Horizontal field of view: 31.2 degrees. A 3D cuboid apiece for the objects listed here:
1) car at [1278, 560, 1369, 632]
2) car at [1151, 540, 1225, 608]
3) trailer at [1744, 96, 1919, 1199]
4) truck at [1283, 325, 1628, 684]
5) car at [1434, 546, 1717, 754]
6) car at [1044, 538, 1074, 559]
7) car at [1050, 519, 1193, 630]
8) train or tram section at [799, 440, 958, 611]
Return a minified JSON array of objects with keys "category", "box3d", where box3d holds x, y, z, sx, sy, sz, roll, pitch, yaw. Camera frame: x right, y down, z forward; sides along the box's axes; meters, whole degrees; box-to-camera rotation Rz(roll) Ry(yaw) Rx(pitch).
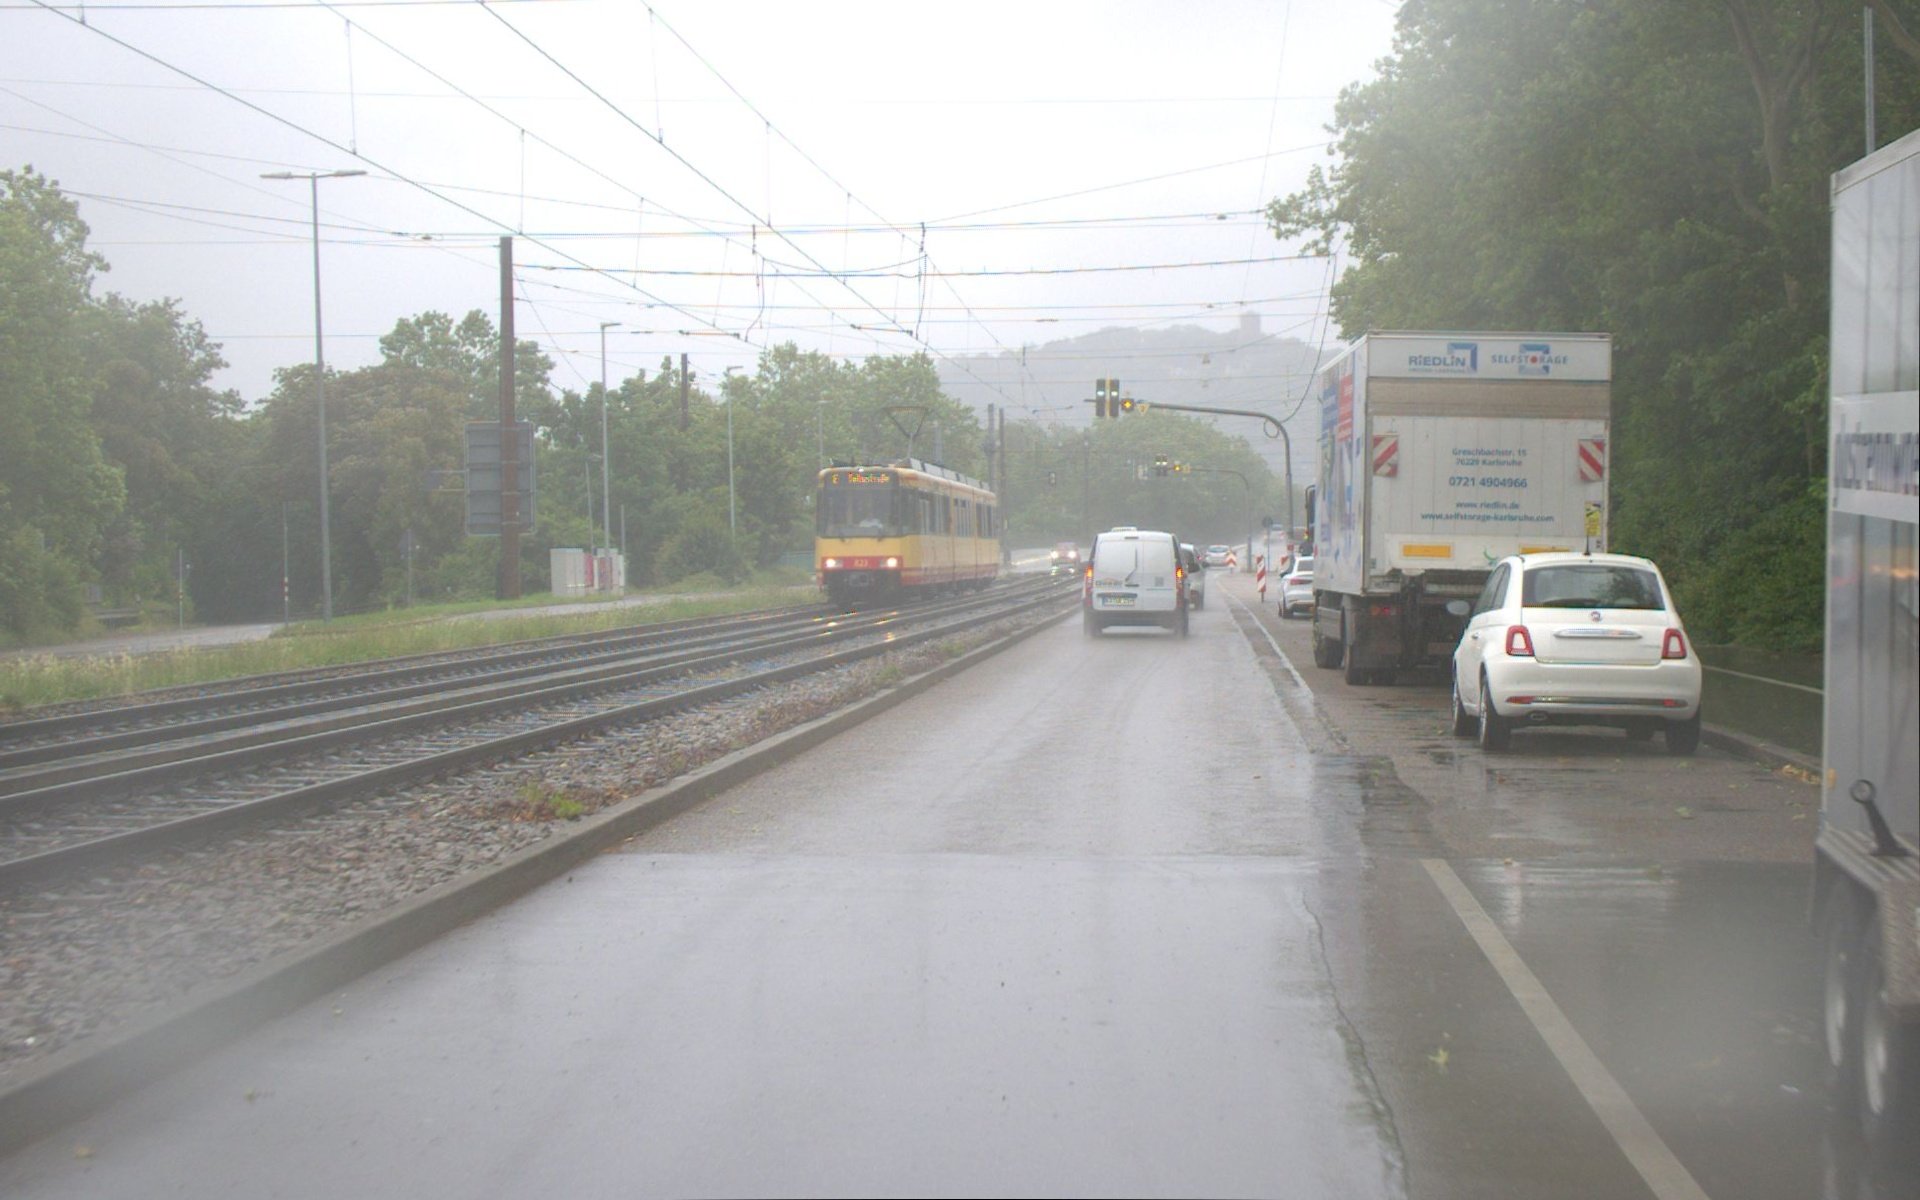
[{"category":"car","box3d":[8.064,-0.105,76.632,1.820,1.481,4.480,1,1,4]},{"category":"car","box3d":[5.706,-0.643,85.921,1.786,1.637,3.967,0,0,4]},{"category":"trailer","box3d":[3.561,0.125,9.354,2.166,2.748,5.675,0,0,7]},{"category":"truck","box3d":[5.565,-1.005,40.294,2.775,3.691,9.852,0,0,1]},{"category":"car","box3d":[4.790,0.335,27.214,1.713,1.524,4.000,0,1,3]},{"category":"car","box3d":[6.628,-3.442,230.123,1.819,1.393,4.000,-1,1,4]},{"category":"car","box3d":[2.735,-0.457,59.053,1.993,1.842,4.001,0,1,-4]},{"category":"train or tram section","box3d":[-1.979,-1.905,89.548,2.807,4.135,13.017,0,1,5]}]
